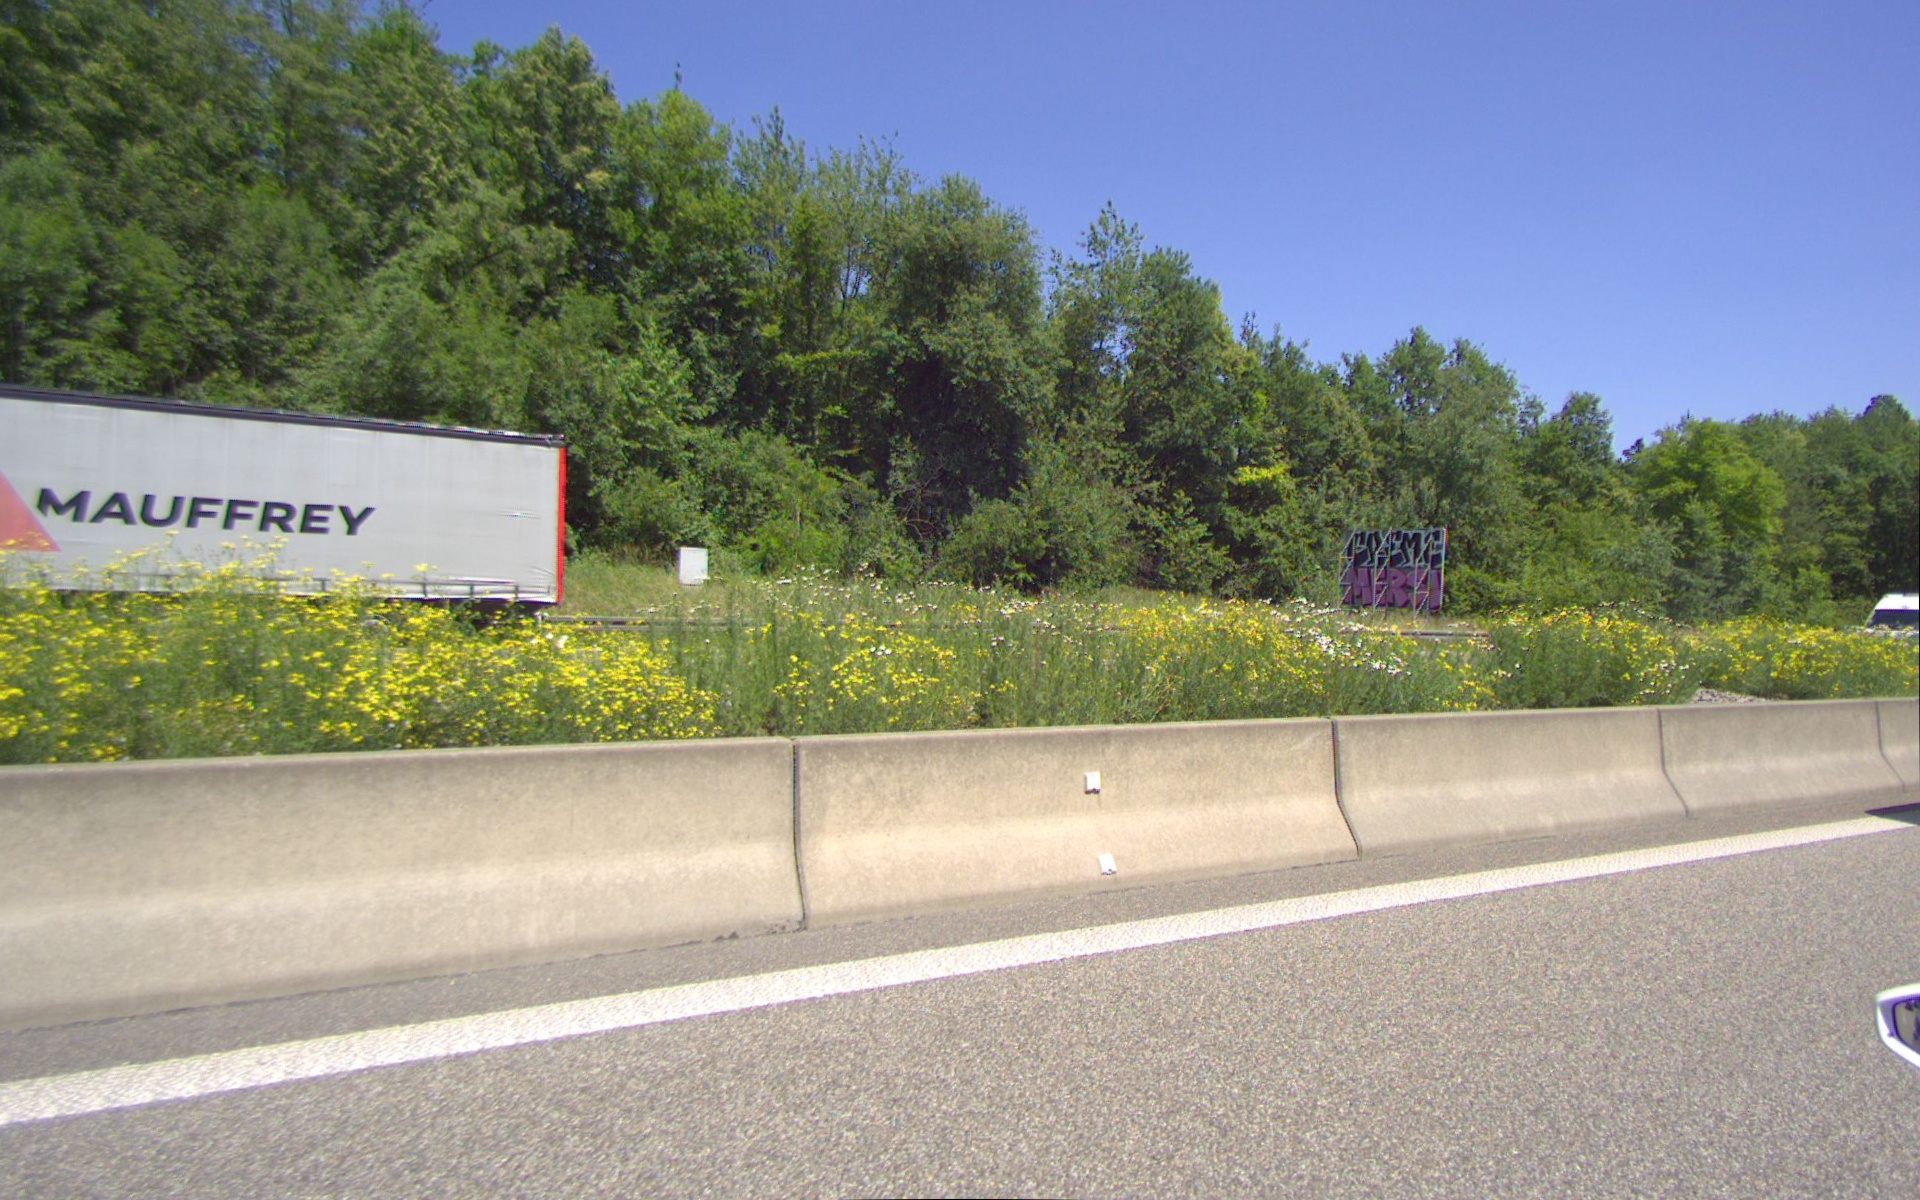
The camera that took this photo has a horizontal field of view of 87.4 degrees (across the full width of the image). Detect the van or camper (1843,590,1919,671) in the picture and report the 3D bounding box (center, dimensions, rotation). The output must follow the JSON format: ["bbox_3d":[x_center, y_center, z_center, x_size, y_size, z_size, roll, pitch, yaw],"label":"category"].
[{"bbox_3d":[34.603,1.091,36.231,6.074,2.737,2.077,2,0,-28],"label":"van or camper"}]

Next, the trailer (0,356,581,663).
[{"bbox_3d":[-13.309,-1.332,16.526,12.894,4.287,2.916,3,-1,-26],"label":"trailer"}]

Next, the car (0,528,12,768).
[{"bbox_3d":[-9.063,0.366,6.347,3.947,2.040,1.987,3,-1,-26],"label":"car"}]
